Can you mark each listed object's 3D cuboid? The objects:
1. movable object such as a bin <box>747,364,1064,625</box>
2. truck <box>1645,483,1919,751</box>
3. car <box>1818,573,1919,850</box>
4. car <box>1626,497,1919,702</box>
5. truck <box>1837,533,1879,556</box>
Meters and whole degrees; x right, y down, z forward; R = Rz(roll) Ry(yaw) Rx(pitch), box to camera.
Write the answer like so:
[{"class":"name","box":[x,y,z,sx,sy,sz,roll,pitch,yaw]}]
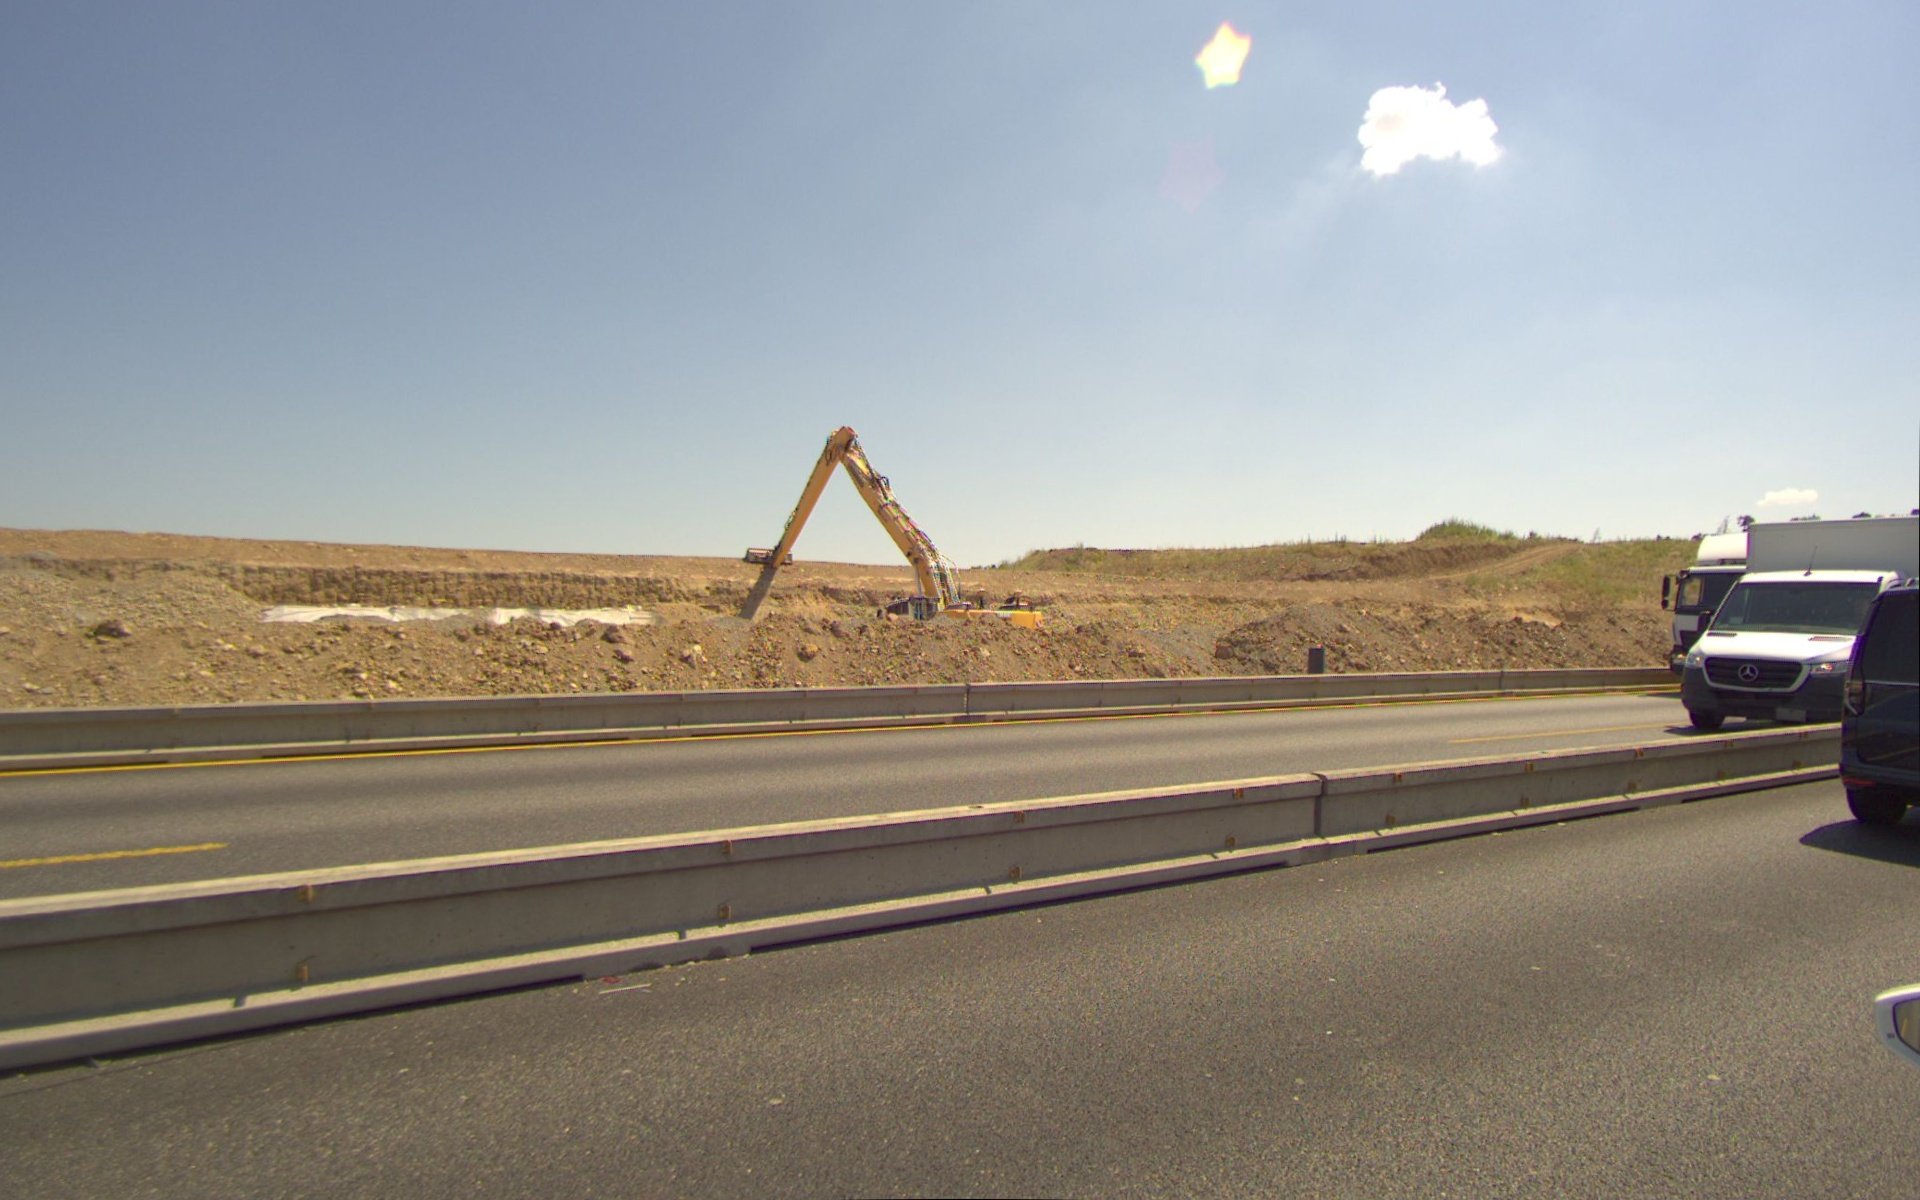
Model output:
[{"class":"movable object such as a bin","box":[-3.045,-2.908,35.410,3.348,6.863,18.136,2,0,-29]},{"class":"truck","box":[13.202,0.288,14.811,7.230,3.192,2.259,2,0,-31]},{"class":"car","box":[8.612,0.773,7.608,4.726,1.849,1.743,1,1,-30]},{"class":"car","box":[18.184,0.027,21.863,7.995,3.790,2.894,1,1,-30]},{"class":"truck","box":[136.603,-8.452,152.903,2.317,2.937,8.362,2,0,24]}]
